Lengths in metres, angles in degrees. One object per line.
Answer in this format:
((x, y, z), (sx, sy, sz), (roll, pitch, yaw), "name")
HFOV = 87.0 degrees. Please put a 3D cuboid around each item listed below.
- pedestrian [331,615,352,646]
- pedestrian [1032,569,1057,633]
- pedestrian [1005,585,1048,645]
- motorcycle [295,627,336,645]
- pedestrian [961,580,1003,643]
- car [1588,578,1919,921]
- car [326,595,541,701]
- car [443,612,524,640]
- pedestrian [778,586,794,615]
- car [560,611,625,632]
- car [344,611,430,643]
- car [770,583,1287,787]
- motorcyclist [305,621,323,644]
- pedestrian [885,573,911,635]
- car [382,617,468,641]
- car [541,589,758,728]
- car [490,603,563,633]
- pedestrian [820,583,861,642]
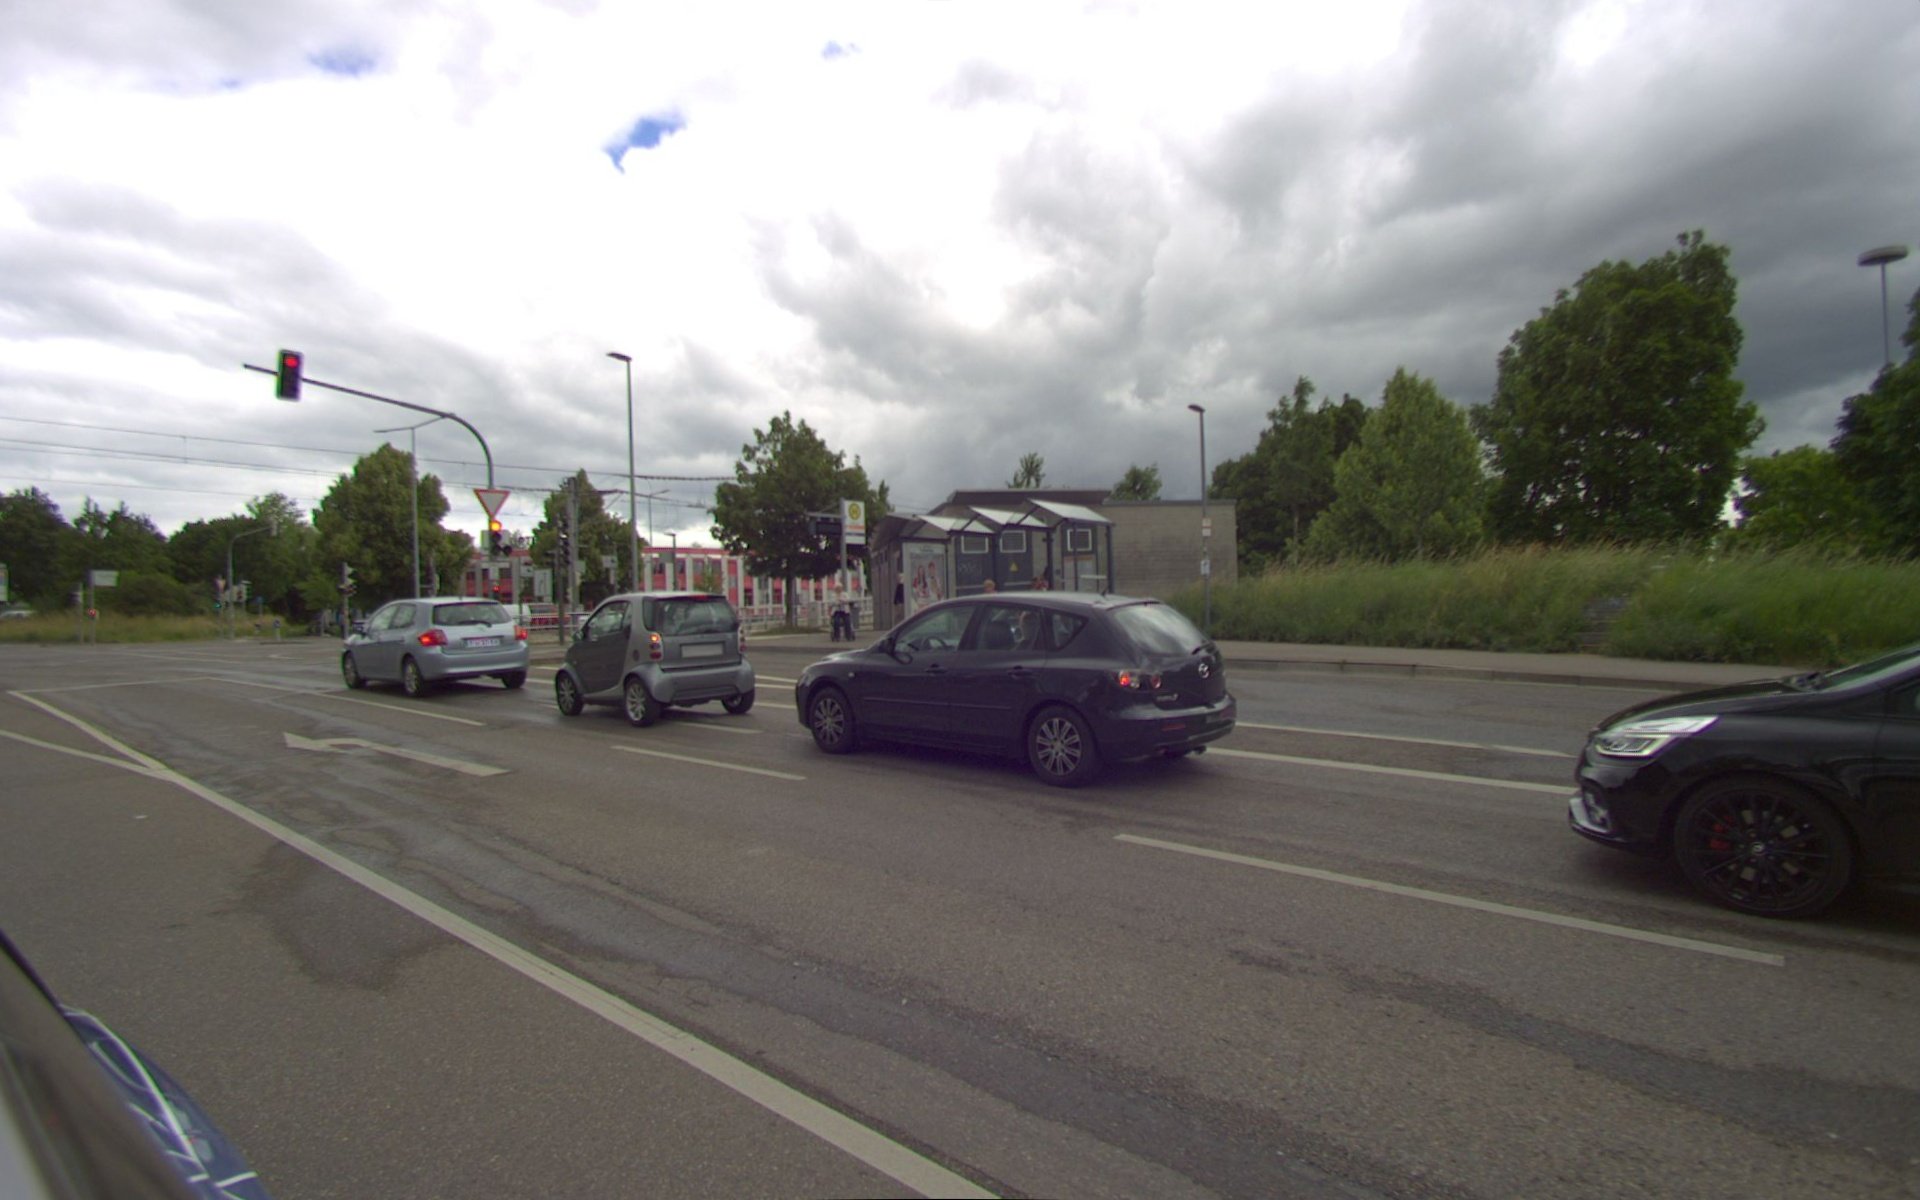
((-31.211, 1.539, 51.040), (0.714, 1.542, 0.662), (-2, -1, 37), "pedestrian")
((2.274, 0.025, 27.201), (0.542, 1.682, 0.430), (-1, -1, -9), "pedestrian")
((1.393, 0.309, 21.219), (0.550, 1.236, 0.764), (-2, -1, 36), "pedestrian")
((-40.270, 2.251, 63.226), (2.033, 1.098, 0.762), (-1, -2, -23), "motorcycle")
((0.475, 0.251, 22.050), (0.550, 1.340, 0.764), (-2, -1, 36), "pedestrian")
((4.965, 0.571, 3.900), (1.621, 1.342, 4.063), (0, -1, -45), "car")
((-8.892, 0.741, 16.953), (4.218, 1.547, 1.808), (-1, -1, 41), "car")
((-31.730, 1.738, 67.487), (1.812, 1.806, 4.638), (-2, -2, 37), "car")
((-9.424, 0.028, 54.915), (0.562, 1.584, 0.540), (-2, 1, 31), "pedestrian")
((-26.836, 1.595, 73.987), (1.812, 1.351, 4.169), (-2, -4, 37), "car")
((-34.646, 1.618, 61.245), (1.811, 1.793, 4.172), (-1, 0, 35), "car")
((0.373, 0.593, 8.819), (4.381, 1.342, 1.779), (-1, -1, 44), "car")
((-40.343, 2.035, 63.199), (0.803, 1.432, 0.762), (-1, -2, -23), "motorcyclist")
((-1.735, 0.118, 28.191), (0.541, 1.682, 0.640), (-1, -1, -18), "pedestrian")
((-31.764, 1.748, 60.170), (1.809, 1.351, 4.175), (-1, -4, 33), "car")
((-3.941, 0.669, 12.686), (2.775, 1.538, 1.413), (-1, -1, 43), "car")
((-31.274, 1.333, 73.107), (2.176, 1.920, 4.408), (-1, -4, 30), "car")
((-2.845, 0.303, 24.099), (0.773, 1.374, 0.544), (-2, -1, 37), "pedestrian")
